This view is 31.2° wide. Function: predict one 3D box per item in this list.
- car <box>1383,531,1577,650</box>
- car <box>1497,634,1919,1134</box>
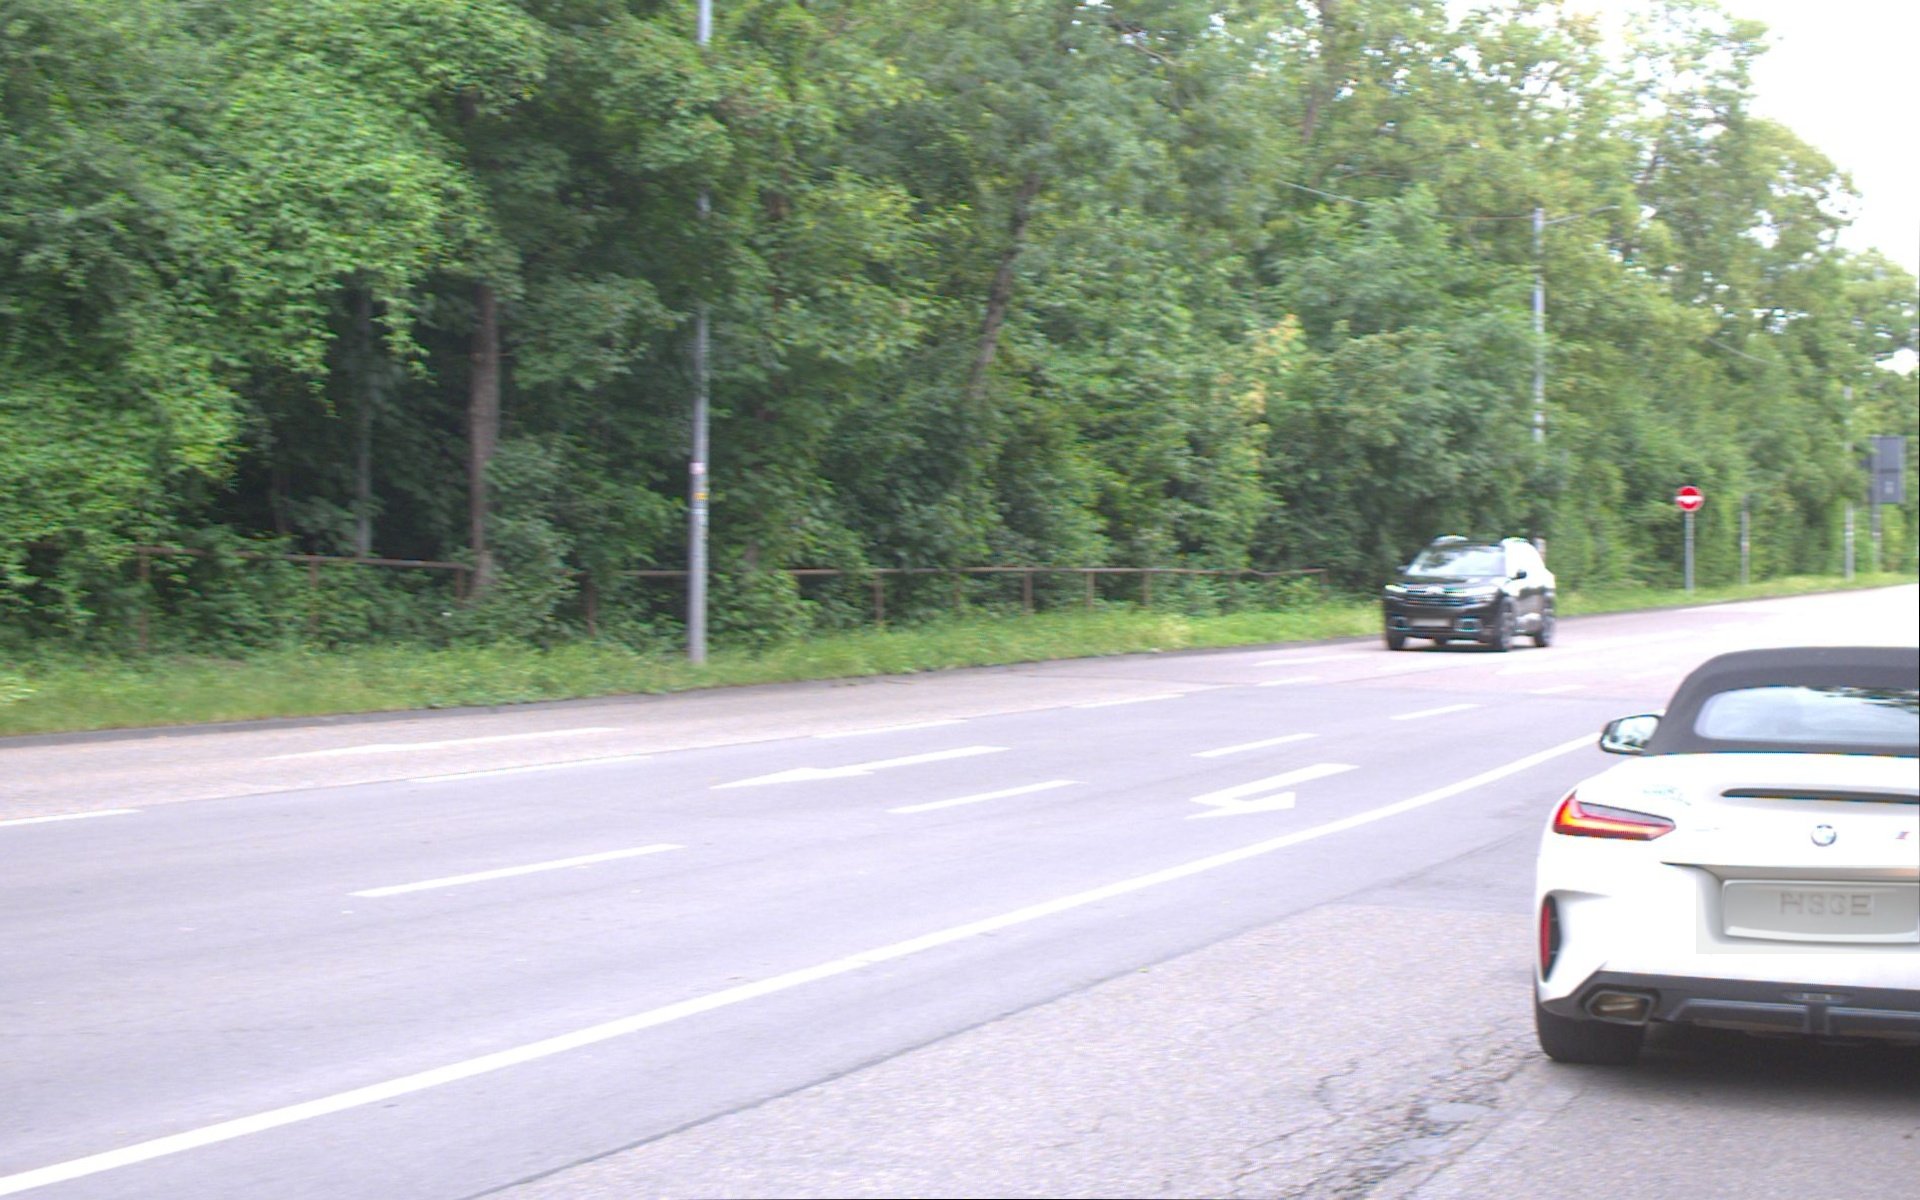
[{"bbox_3d":[7.872,-0.140,51.768,1.824,1.647,4.216,3,1,23],"label":"car"},{"bbox_3d":[3.074,0.802,11.252,1.877,1.305,3.869,1,0,20],"label":"car"}]
